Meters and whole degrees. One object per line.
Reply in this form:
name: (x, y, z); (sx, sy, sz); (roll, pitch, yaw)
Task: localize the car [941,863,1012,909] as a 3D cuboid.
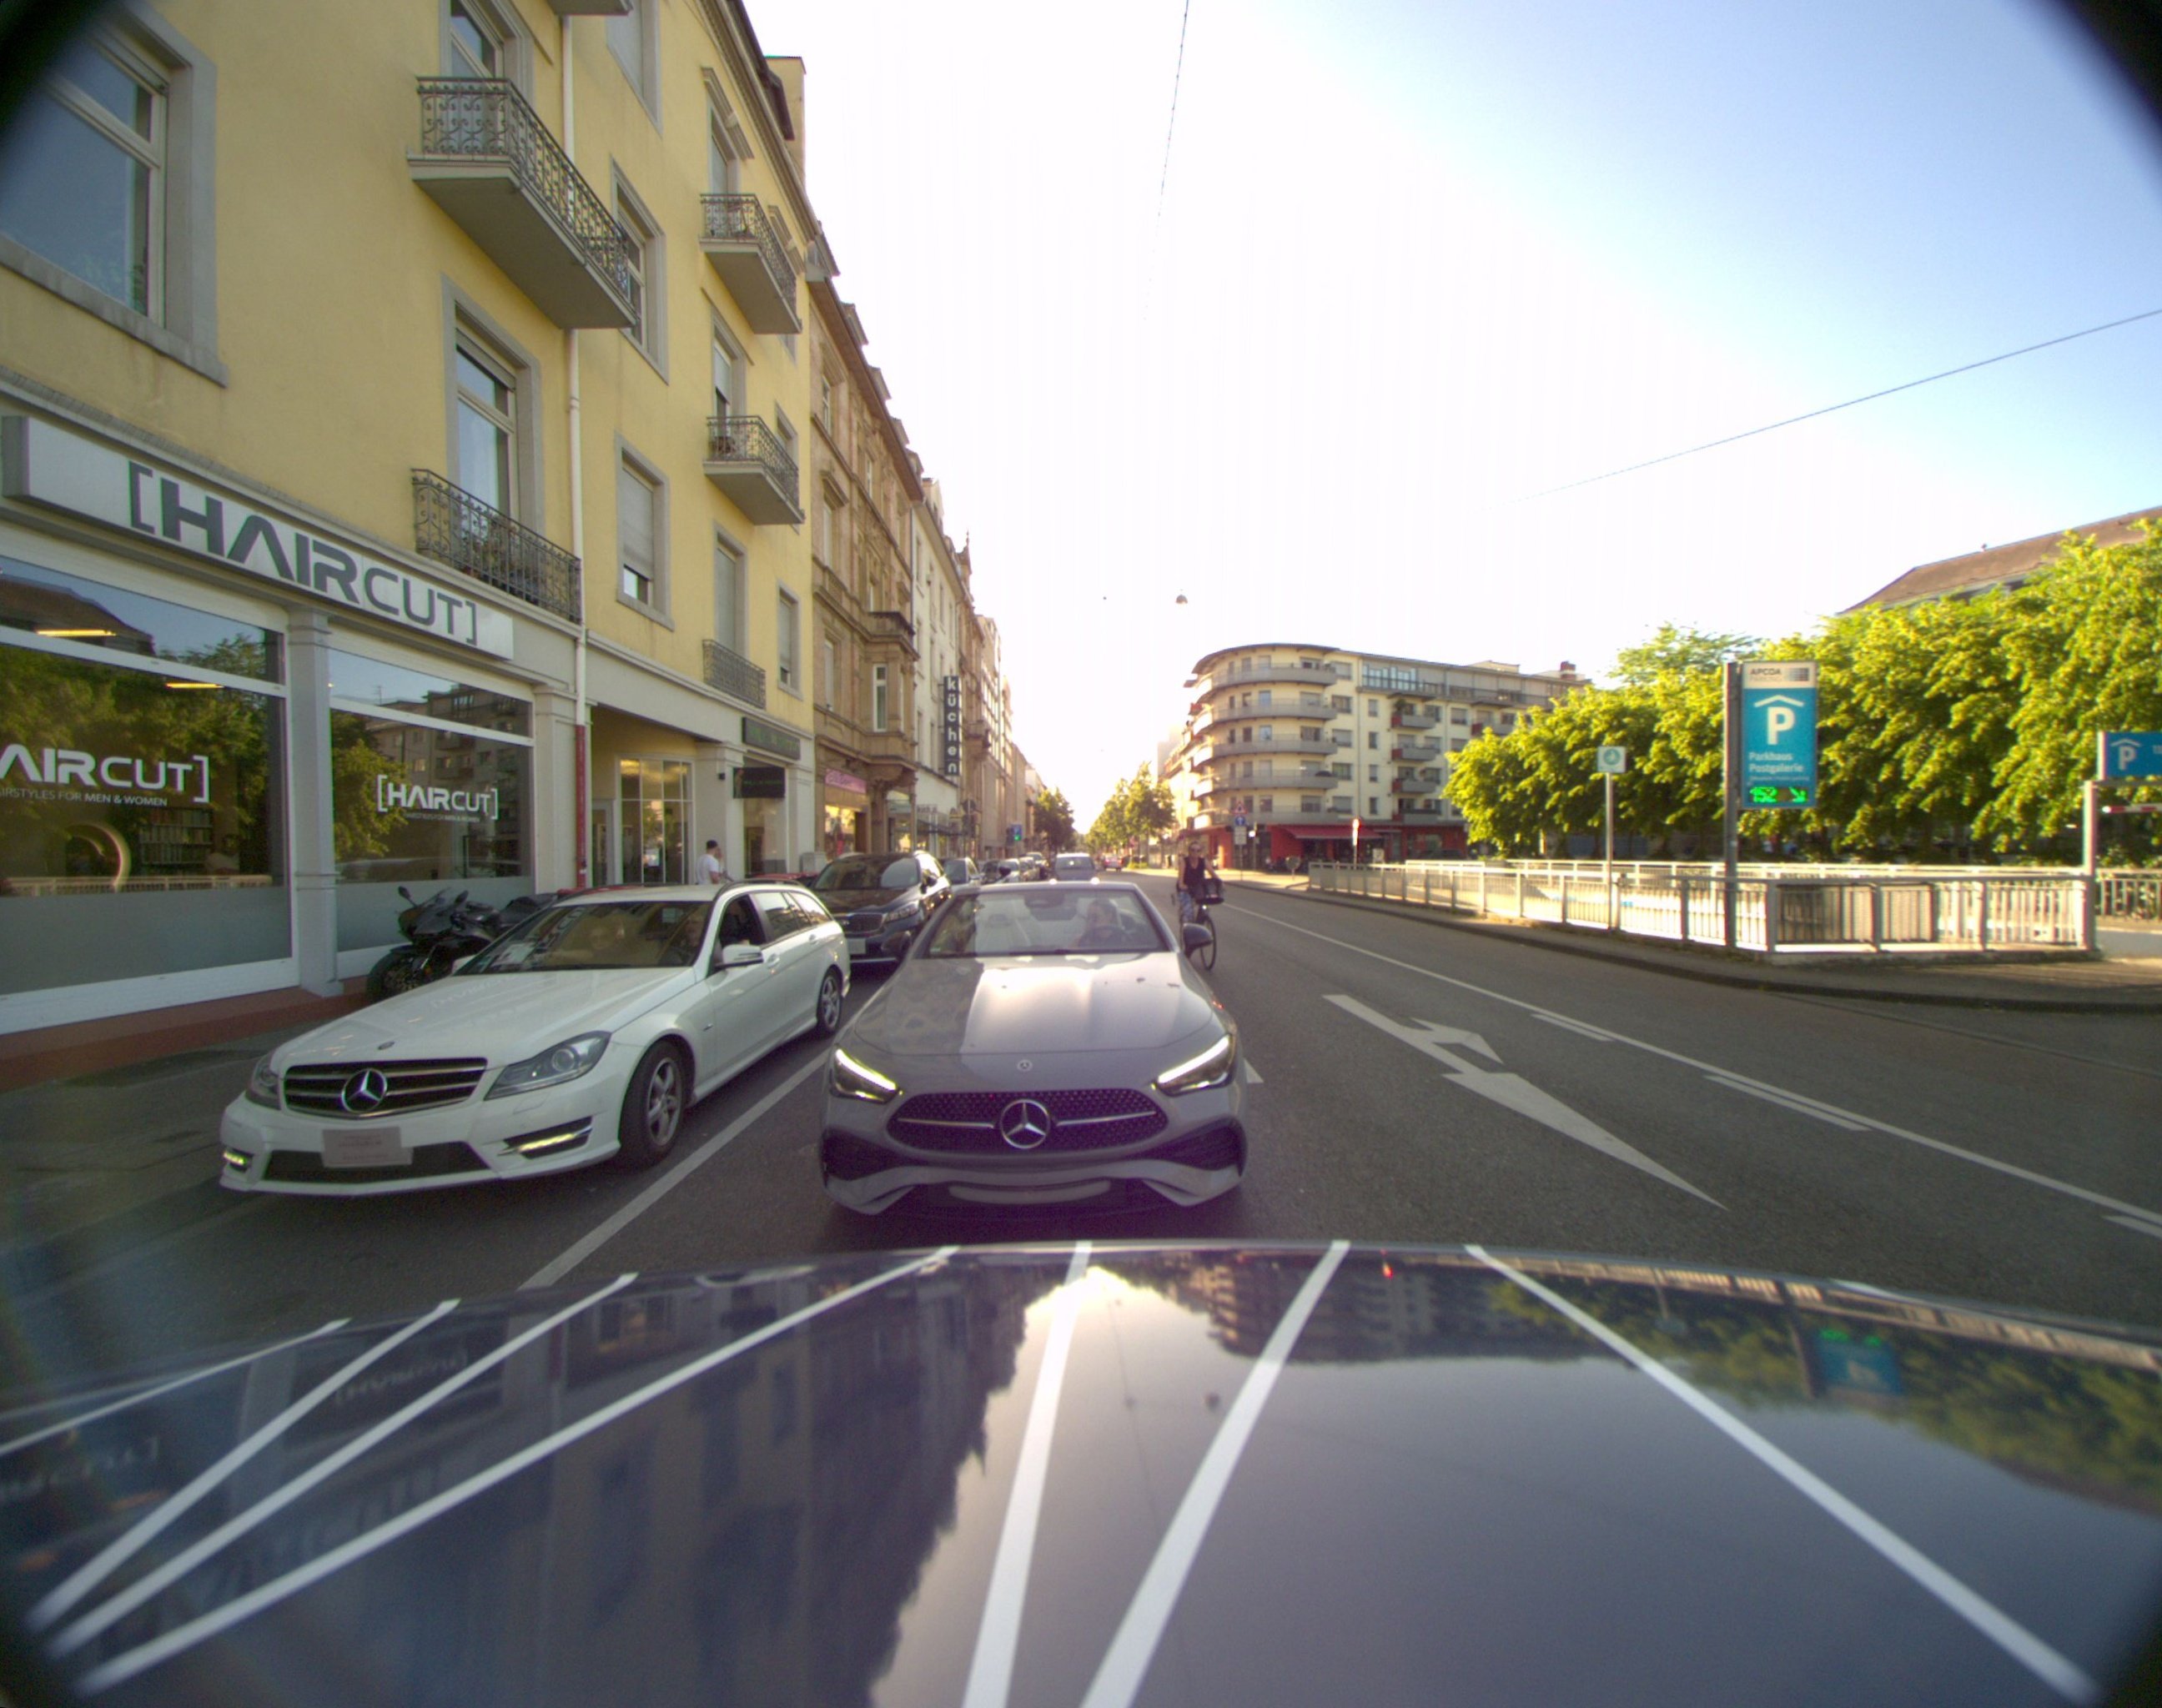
car: (-3.392, 1.004, 25.351); (1.802, 1.259, 4.085); (-2, 1, -1)

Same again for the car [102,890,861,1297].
car: (-3.067, 1.084, 5.280); (1.704, 1.351, 4.378); (-2, 1, 1)

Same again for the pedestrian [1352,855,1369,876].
pedestrian: (21.696, 0.927, 59.030); (0.863, 1.586, 0.887); (-3, 1, -38)

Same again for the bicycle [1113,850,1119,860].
bicycle: (4.266, 0.063, 92.434); (0.527, 1.163, 1.594); (-2, 1, 8)

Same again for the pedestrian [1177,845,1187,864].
pedestrian: (10.421, 0.056, 78.459); (0.860, 2.002, 0.889); (-2, 1, 0)

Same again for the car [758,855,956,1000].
car: (-3.031, 0.883, 11.245); (1.803, 1.629, 4.243); (-2, 1, -3)

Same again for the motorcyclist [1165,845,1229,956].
motorcyclist: (1.563, 0.607, 10.321); (0.722, 1.438, 0.705); (-2, 1, 1)

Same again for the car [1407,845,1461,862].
car: (28.991, -0.054, 62.411); (4.004, 1.294, 1.753); (-2, 1, -23)

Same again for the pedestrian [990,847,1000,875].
pedestrian: (-5.756, 0.490, 50.877); (0.574, 1.840, 0.665); (-2, 1, 1)

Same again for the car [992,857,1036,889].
car: (-3.198, 0.883, 36.904); (1.802, 1.332, 3.838); (-2, 1, -1)

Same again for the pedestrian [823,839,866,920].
pedestrian: (-4.967, 0.528, 15.933); (0.720, 1.644, 0.604); (-2, 0, -26)

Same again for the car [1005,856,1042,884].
car: (-3.050, 0.854, 41.106); (1.725, 1.332, 3.668); (-2, 1, -1)

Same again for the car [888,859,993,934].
car: (-3.298, 0.940, 18.621); (1.802, 1.518, 4.085); (-2, 1, -1)

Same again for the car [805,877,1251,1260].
car: (-0.264, 0.951, 5.160); (1.802, 1.351, 3.999); (-2, 1, -2)

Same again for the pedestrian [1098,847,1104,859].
pedestrian: (3.354, -0.226, 128.341); (0.860, 2.002, 0.889); (-2, 1, 1)

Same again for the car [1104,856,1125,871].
car: (3.236, 0.887, 74.173); (1.823, 1.346, 4.264); (1, 1, 0)

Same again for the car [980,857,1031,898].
car: (-2.999, 0.915, 30.775); (1.660, 1.423, 4.085); (-2, 1, -1)

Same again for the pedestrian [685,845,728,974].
pedestrian: (-5.930, 0.853, 12.025); (0.375, 1.971, 0.692); (-2, 1, -43)

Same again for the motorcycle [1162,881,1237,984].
motorcycle: (1.576, 1.017, 10.432); (0.720, 1.177, 1.906); (-2, 1, 1)

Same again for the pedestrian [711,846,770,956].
pedestrian: (-5.874, 0.796, 13.143); (0.664, 1.840, 0.575); (-2, 1, 2)

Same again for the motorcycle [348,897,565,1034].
motorcycle: (-6.213, 1.044, 7.730); (0.567, 1.072, 1.954); (2, 1, 1)

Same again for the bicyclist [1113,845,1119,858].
bicyclist: (4.245, -0.253, 92.377); (0.524, 1.539, 0.799); (-2, 1, 7)

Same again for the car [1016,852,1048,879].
car: (-3.007, 0.693, 47.466); (1.725, 1.506, 4.004); (-2, 1, -1)

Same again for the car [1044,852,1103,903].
car: (-0.206, 0.754, 26.542); (1.856, 1.543, 3.999); (-2, 1, 1)
